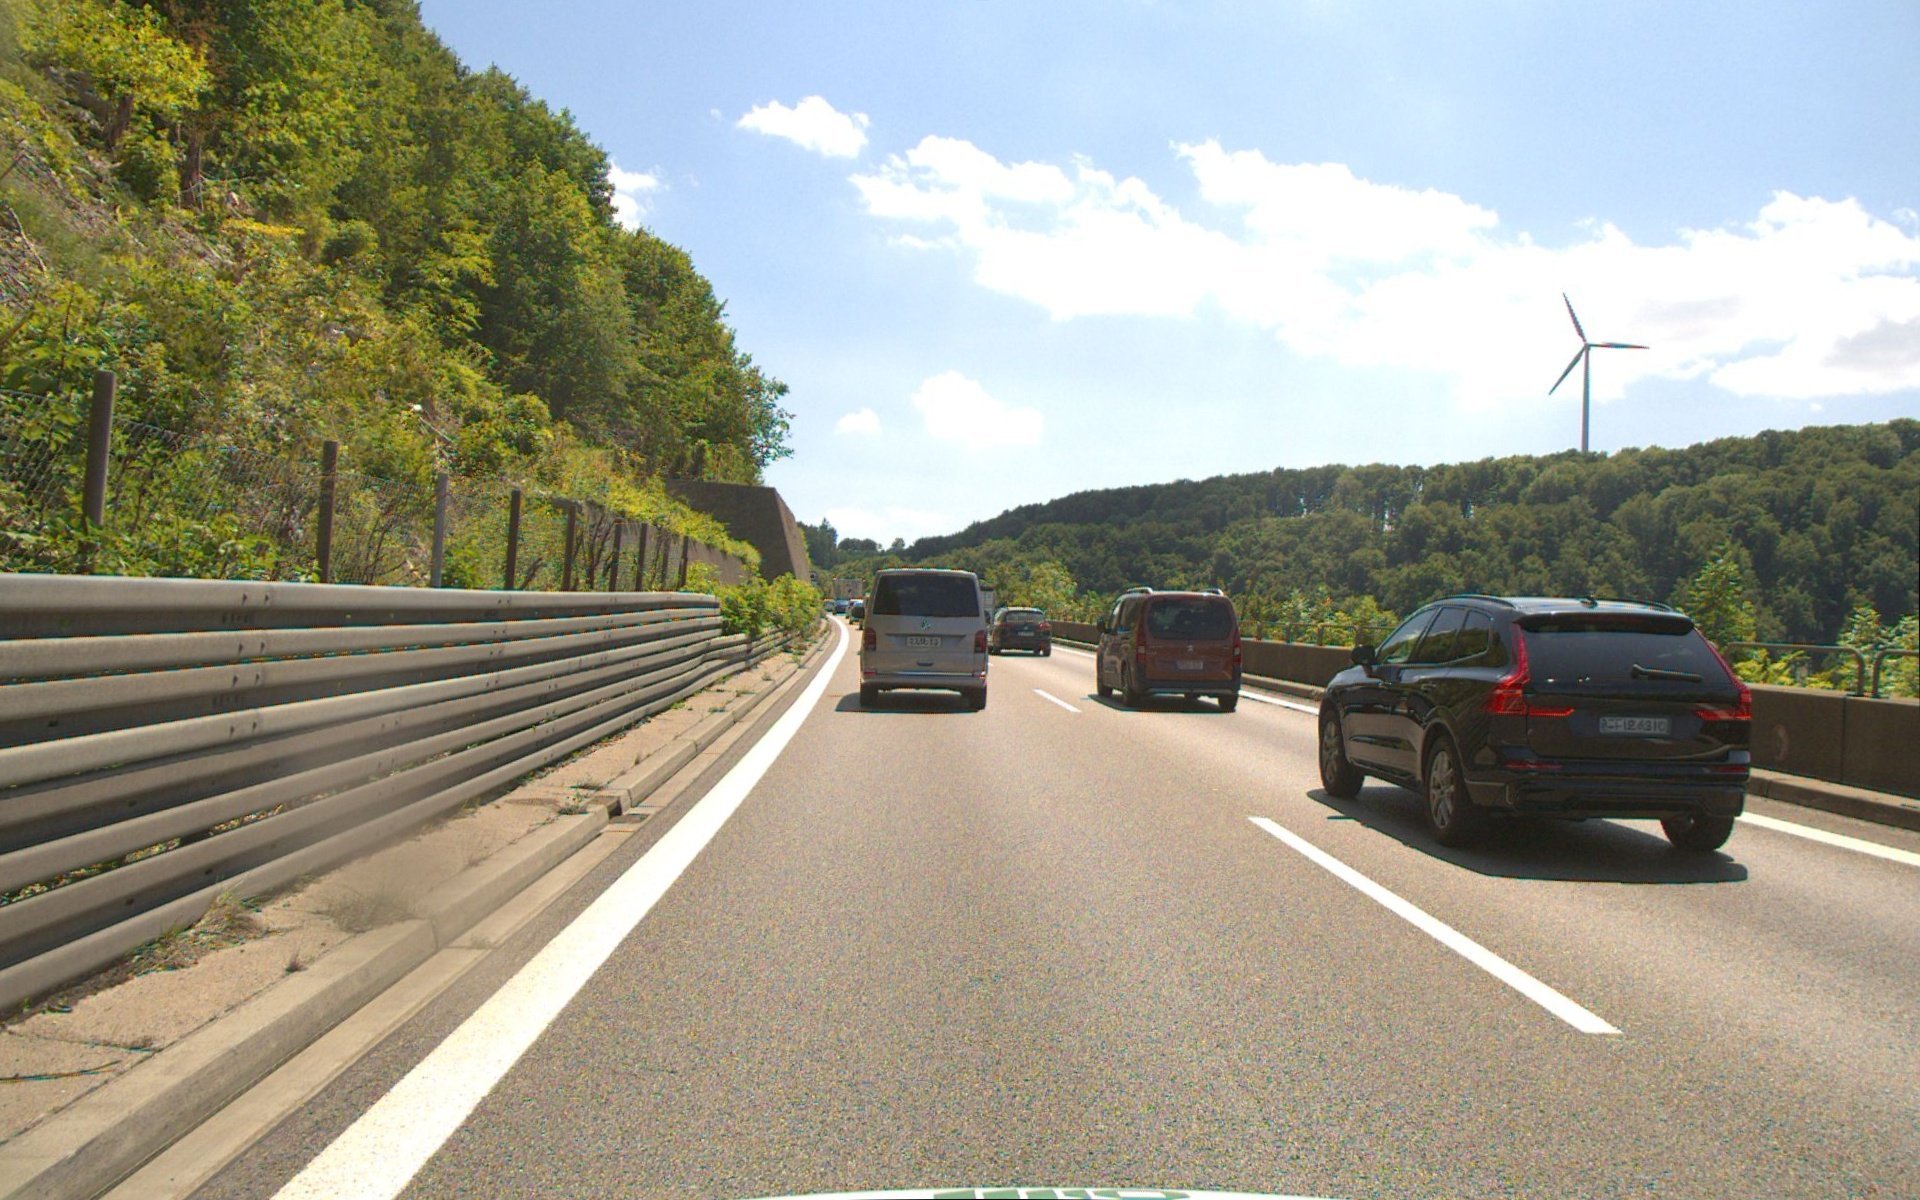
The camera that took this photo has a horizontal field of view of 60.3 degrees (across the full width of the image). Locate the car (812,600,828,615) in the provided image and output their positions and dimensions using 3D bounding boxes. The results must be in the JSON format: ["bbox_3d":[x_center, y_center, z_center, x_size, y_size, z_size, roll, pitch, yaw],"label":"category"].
[{"bbox_3d":[-17.236,0.941,203.002,1.810,1.780,3.994,0,0,-7],"label":"car"}]

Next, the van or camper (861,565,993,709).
[{"bbox_3d":[-0.559,0.537,25.122,1.838,1.984,4.291,0,-1,-3],"label":"van or camper"}]

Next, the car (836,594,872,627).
[{"bbox_3d":[-6.580,0.661,102.912,1.953,1.948,3.999,1,0,0],"label":"car"}]

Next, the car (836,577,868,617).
[{"bbox_3d":[-13.886,-0.336,212.540,3.964,4.957,10.100,0,-1,-4],"label":"car"}]

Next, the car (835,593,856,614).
[{"bbox_3d":[-11.266,0.348,163.121,1.954,2.049,3.998,0,-1,-3],"label":"car"}]

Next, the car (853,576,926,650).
[{"bbox_3d":[-2.000,0.377,48.133,1.953,2.049,4.000,0,0,0],"label":"car"}]

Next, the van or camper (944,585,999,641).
[{"bbox_3d":[0.505,0.612,79.134,2.220,2.596,4.731,0,0,-5],"label":"van or camper"}]

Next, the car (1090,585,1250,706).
[{"bbox_3d":[3.345,0.711,27.224,1.797,1.815,4.672,0,-1,-3],"label":"car"}]

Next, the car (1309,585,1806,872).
[{"bbox_3d":[4.013,0.736,12.060,1.798,1.662,4.661,1,1,-2],"label":"car"}]

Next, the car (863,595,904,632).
[{"bbox_3d":[-4.047,0.709,87.083,1.955,1.849,3.996,1,0,-5],"label":"car"}]

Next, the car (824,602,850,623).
[{"bbox_3d":[-10.009,1.038,134.921,2.100,1.635,5.074,1,0,-4],"label":"car"}]

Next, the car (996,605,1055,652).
[{"bbox_3d":[1.999,0.864,51.396,1.732,1.400,3.593,0,0,1],"label":"car"}]

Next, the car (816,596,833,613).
[{"bbox_3d":[-14.858,0.504,181.090,1.809,1.780,3.997,1,0,-4],"label":"car"}]
